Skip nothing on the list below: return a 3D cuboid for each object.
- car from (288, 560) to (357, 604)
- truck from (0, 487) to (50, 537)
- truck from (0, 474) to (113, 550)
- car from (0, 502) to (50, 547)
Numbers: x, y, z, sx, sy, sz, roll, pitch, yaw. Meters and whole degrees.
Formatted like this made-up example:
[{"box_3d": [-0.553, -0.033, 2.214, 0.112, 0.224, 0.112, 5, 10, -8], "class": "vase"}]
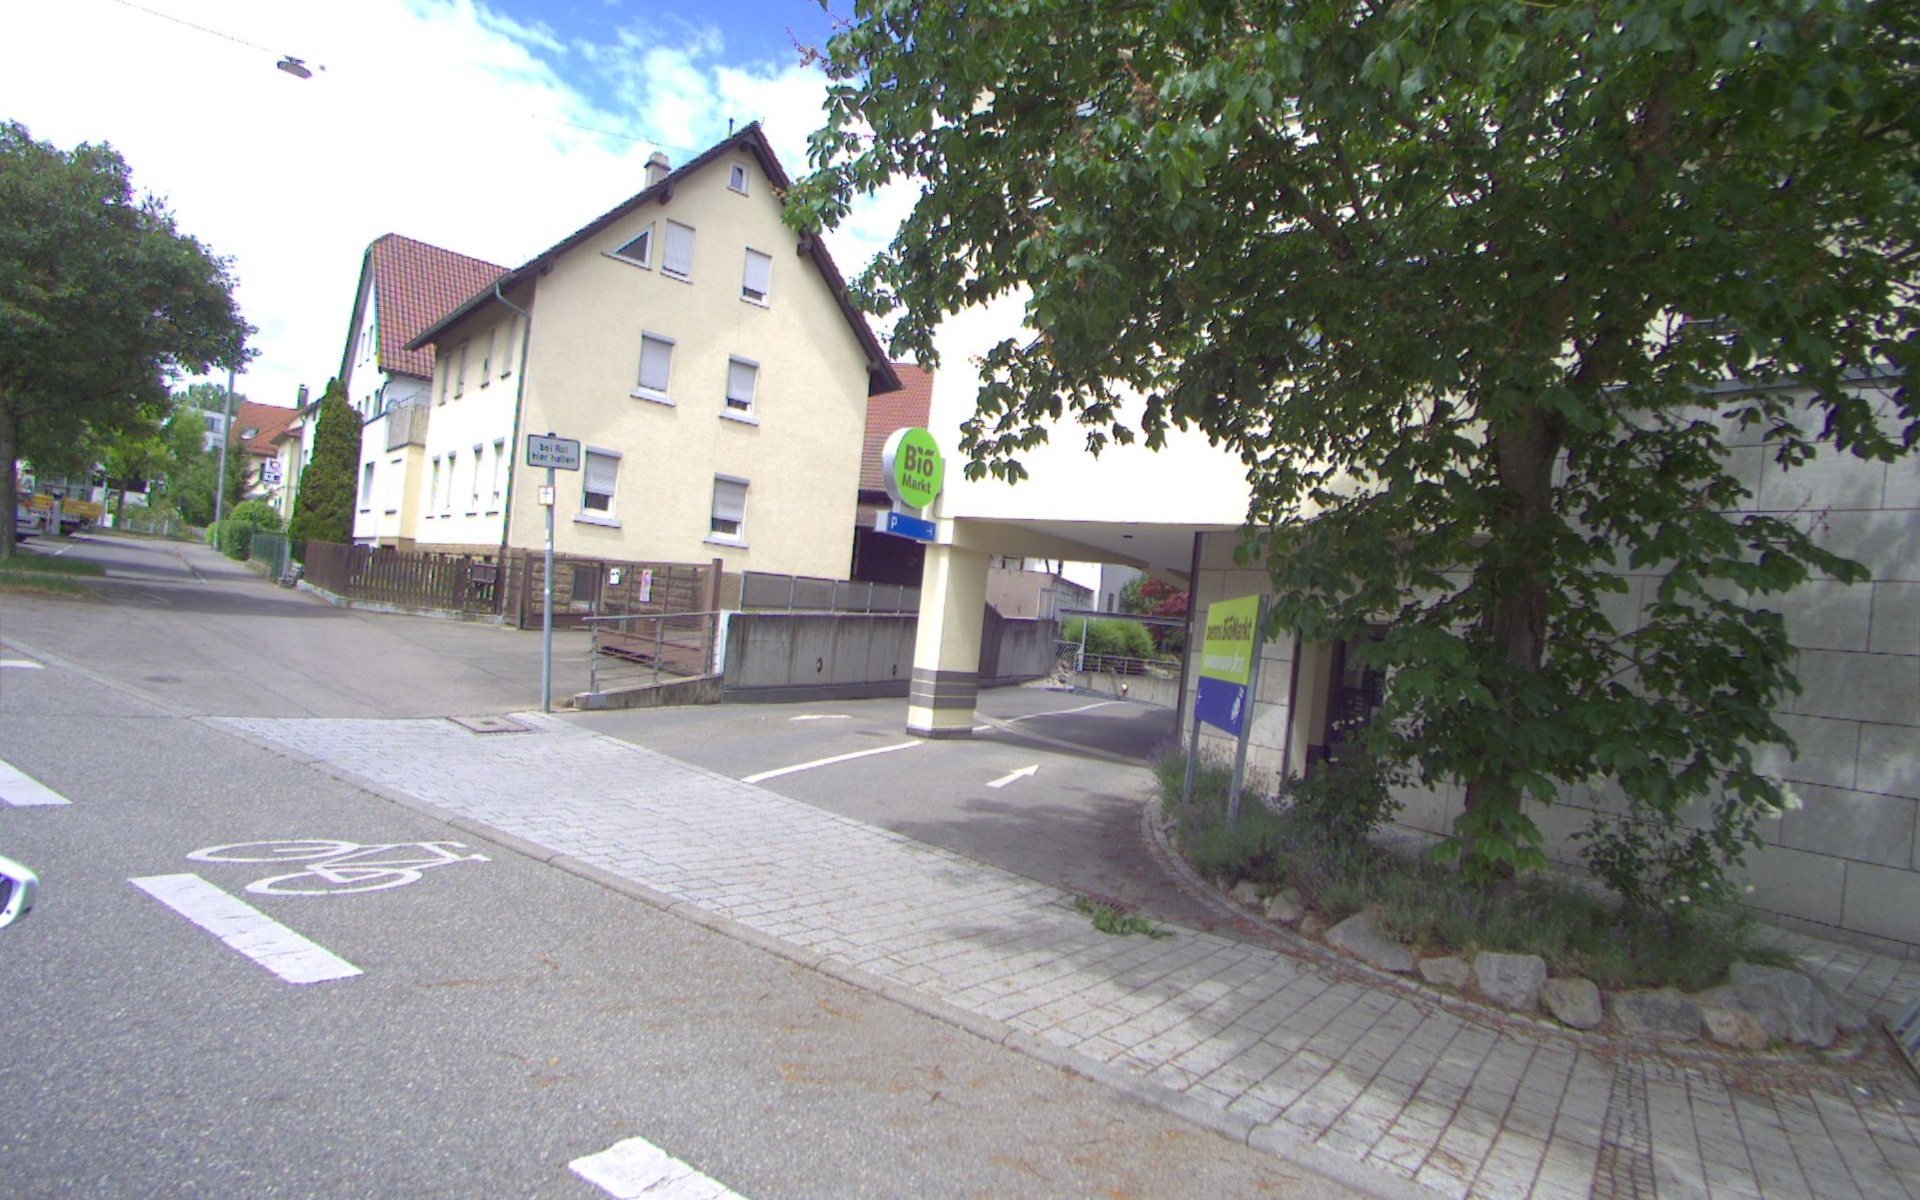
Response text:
[{"box_3d": [-20.632, -0.585, 32.503, 1.455, 1.136, 3.835, 10, -4, -37], "class": "car"}, {"box_3d": [-47.455, -4.541, 48.136, 5.576, 2.035, 2.002, 8, -3, -3], "class": "truck"}, {"box_3d": [-47.631, -4.639, 50.912, 6.587, 3.041, 2.772, 8, -3, -4], "class": "truck"}, {"box_3d": [-37.088, -3.095, 37.466, 4.604, 1.468, 1.768, 8, -1, -1], "class": "car"}]
